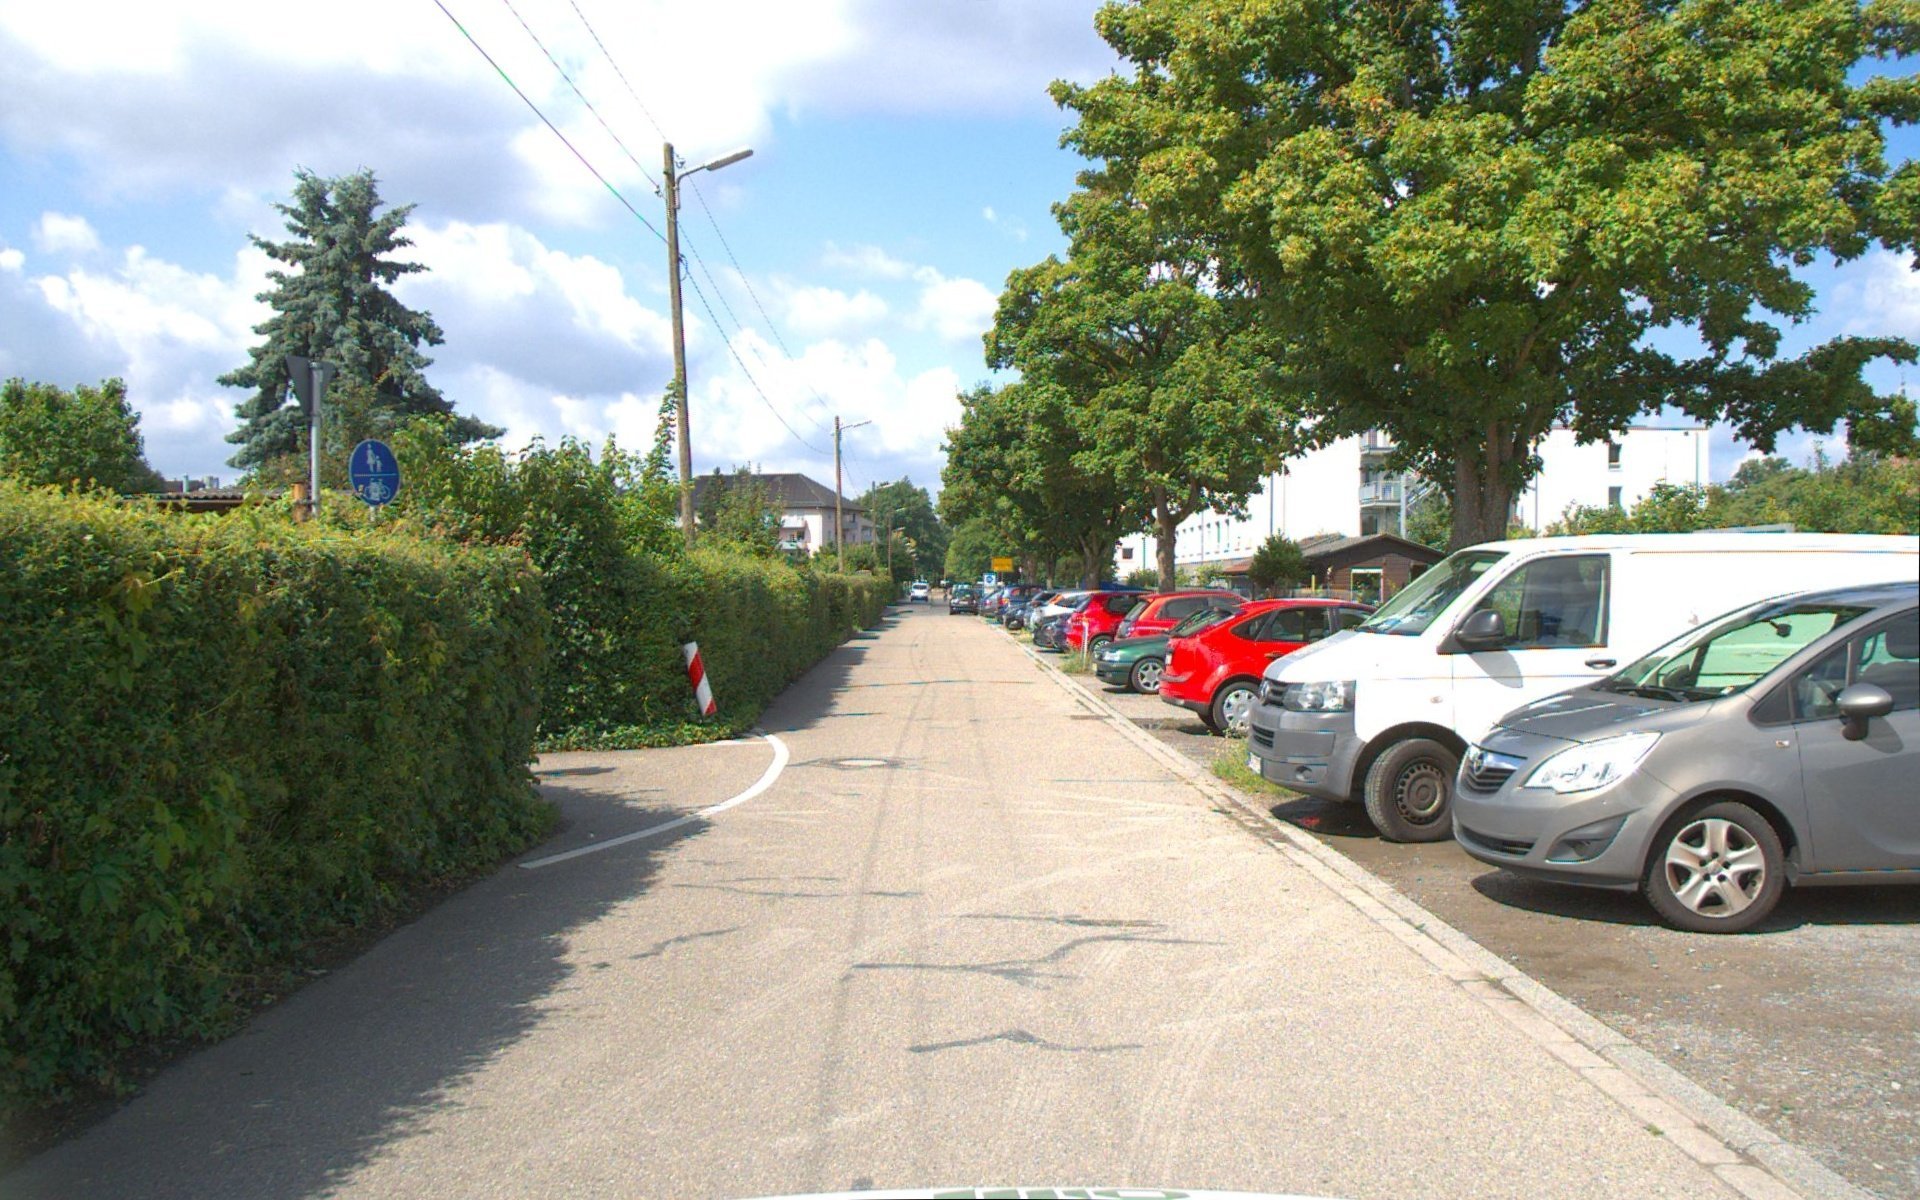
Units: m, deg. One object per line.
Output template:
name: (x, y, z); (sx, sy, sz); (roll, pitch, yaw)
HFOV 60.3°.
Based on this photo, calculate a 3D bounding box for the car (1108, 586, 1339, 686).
car: (4.530, 0.607, 28.819); (3.688, 1.601, 1.869); (1, 0, -2)

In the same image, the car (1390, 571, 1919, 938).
car: (4.553, 0.669, 8.478); (4.157, 1.620, 2.000); (-1, 0, -1)

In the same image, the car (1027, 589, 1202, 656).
car: (3.715, 0.535, 40.286); (3.985, 1.481, 1.869); (1, 0, -3)

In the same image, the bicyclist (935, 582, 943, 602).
bicyclist: (-2.042, -0.795, 160.917); (0.645, 1.884, 1.043); (-1, 0, 1)

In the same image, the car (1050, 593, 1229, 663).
car: (3.969, 0.612, 37.124); (3.829, 1.448, 1.958); (1, 0, 2)

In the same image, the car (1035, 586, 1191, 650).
car: (4.007, 0.463, 43.898); (3.980, 1.538, 1.958); (1, 0, 2)

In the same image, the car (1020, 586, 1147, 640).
car: (3.778, 0.392, 50.976); (3.650, 1.567, 1.848); (1, 0, -4)

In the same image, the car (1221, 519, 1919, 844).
car: (4.240, 0.476, 11.216); (4.541, 1.919, 2.110); (-1, 0, -3)

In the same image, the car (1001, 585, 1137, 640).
car: (3.487, 0.392, 53.553); (4.215, 1.621, 1.999); (1, 0, -2)

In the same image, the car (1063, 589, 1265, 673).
car: (4.081, 0.610, 33.611); (3.904, 1.546, 1.855); (1, 0, 2)

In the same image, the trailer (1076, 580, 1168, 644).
trailer: (4.687, 0.336, 48.107); (2.402, 1.750, 1.517); (1, 1, -5)

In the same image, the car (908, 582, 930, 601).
car: (-4.043, -0.818, 163.955); (1.863, 1.846, 4.001); (1, 0, 2)

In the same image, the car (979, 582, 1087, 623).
car: (3.089, 0.103, 70.699); (4.457, 1.606, 1.808); (1, 0, -2)

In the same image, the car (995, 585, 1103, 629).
car: (3.426, 0.266, 64.199); (4.070, 1.666, 1.878); (0, 0, -1)

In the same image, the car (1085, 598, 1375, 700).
car: (4.193, 0.744, 26.088); (4.156, 1.453, 1.906); (1, 0, -5)

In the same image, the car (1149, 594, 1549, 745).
car: (4.328, 0.749, 18.868); (4.097, 1.530, 1.878); (1, 0, 0)

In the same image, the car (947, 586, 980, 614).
car: (0.230, -0.017, 95.436); (1.628, 1.532, 4.002); (1, 0, 4)
